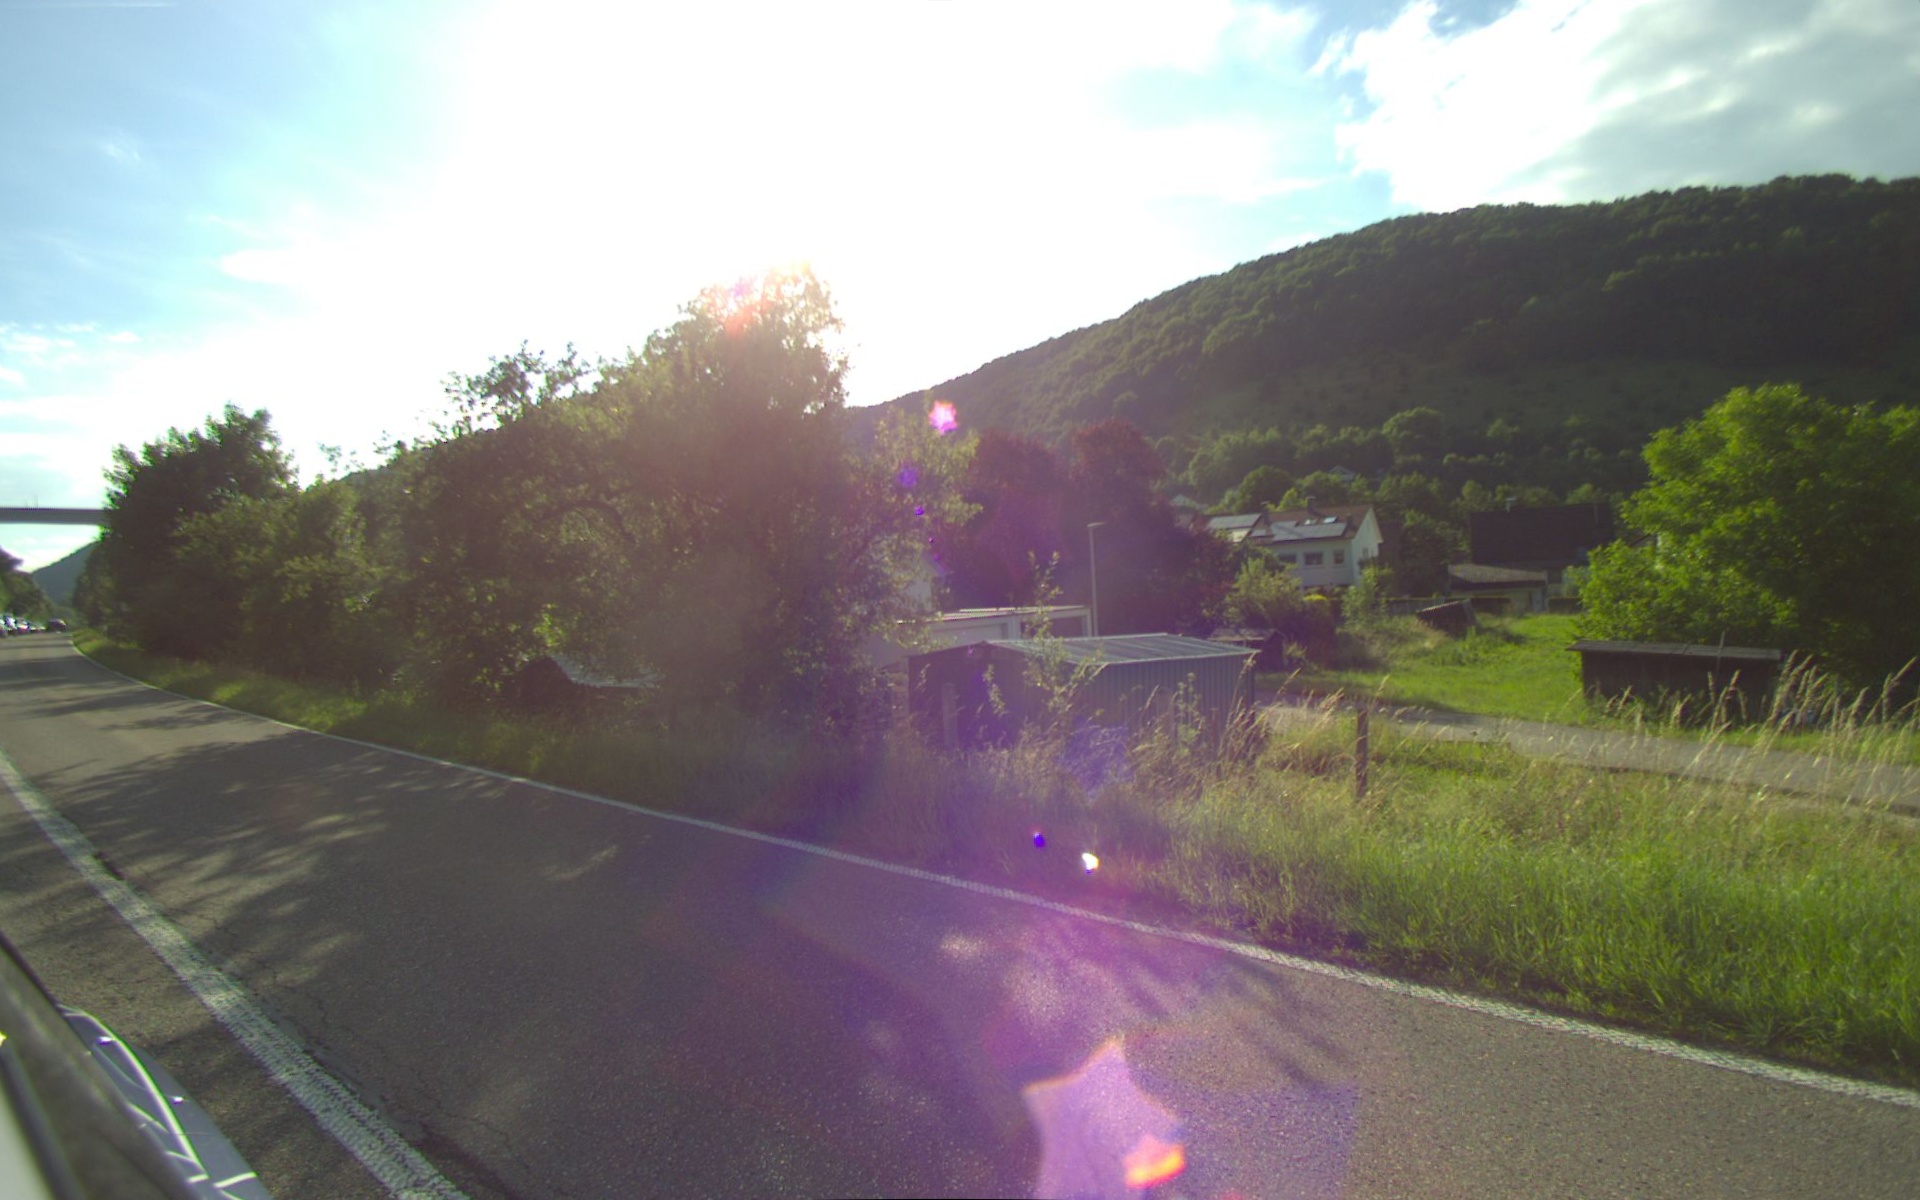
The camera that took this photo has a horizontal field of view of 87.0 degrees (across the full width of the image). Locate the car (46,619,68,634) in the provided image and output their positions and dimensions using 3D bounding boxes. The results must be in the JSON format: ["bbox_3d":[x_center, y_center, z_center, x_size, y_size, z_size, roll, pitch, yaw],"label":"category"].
[{"bbox_3d":[-102.877,3.015,115.340,1.792,1.630,3.811,1,-2,-41],"label":"car"}]

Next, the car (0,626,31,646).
[{"bbox_3d":[-77.938,2.935,83.545,1.792,1.630,4.005,1,-2,-42],"label":"car"}]

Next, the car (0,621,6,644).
[{"bbox_3d":[-69.845,2.319,72.613,1.791,1.630,4.007,1,-2,-40],"label":"car"}]

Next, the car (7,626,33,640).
[{"bbox_3d":[-108.476,3.823,116.806,1.813,1.564,4.186,1,-2,-38],"label":"car"}]
